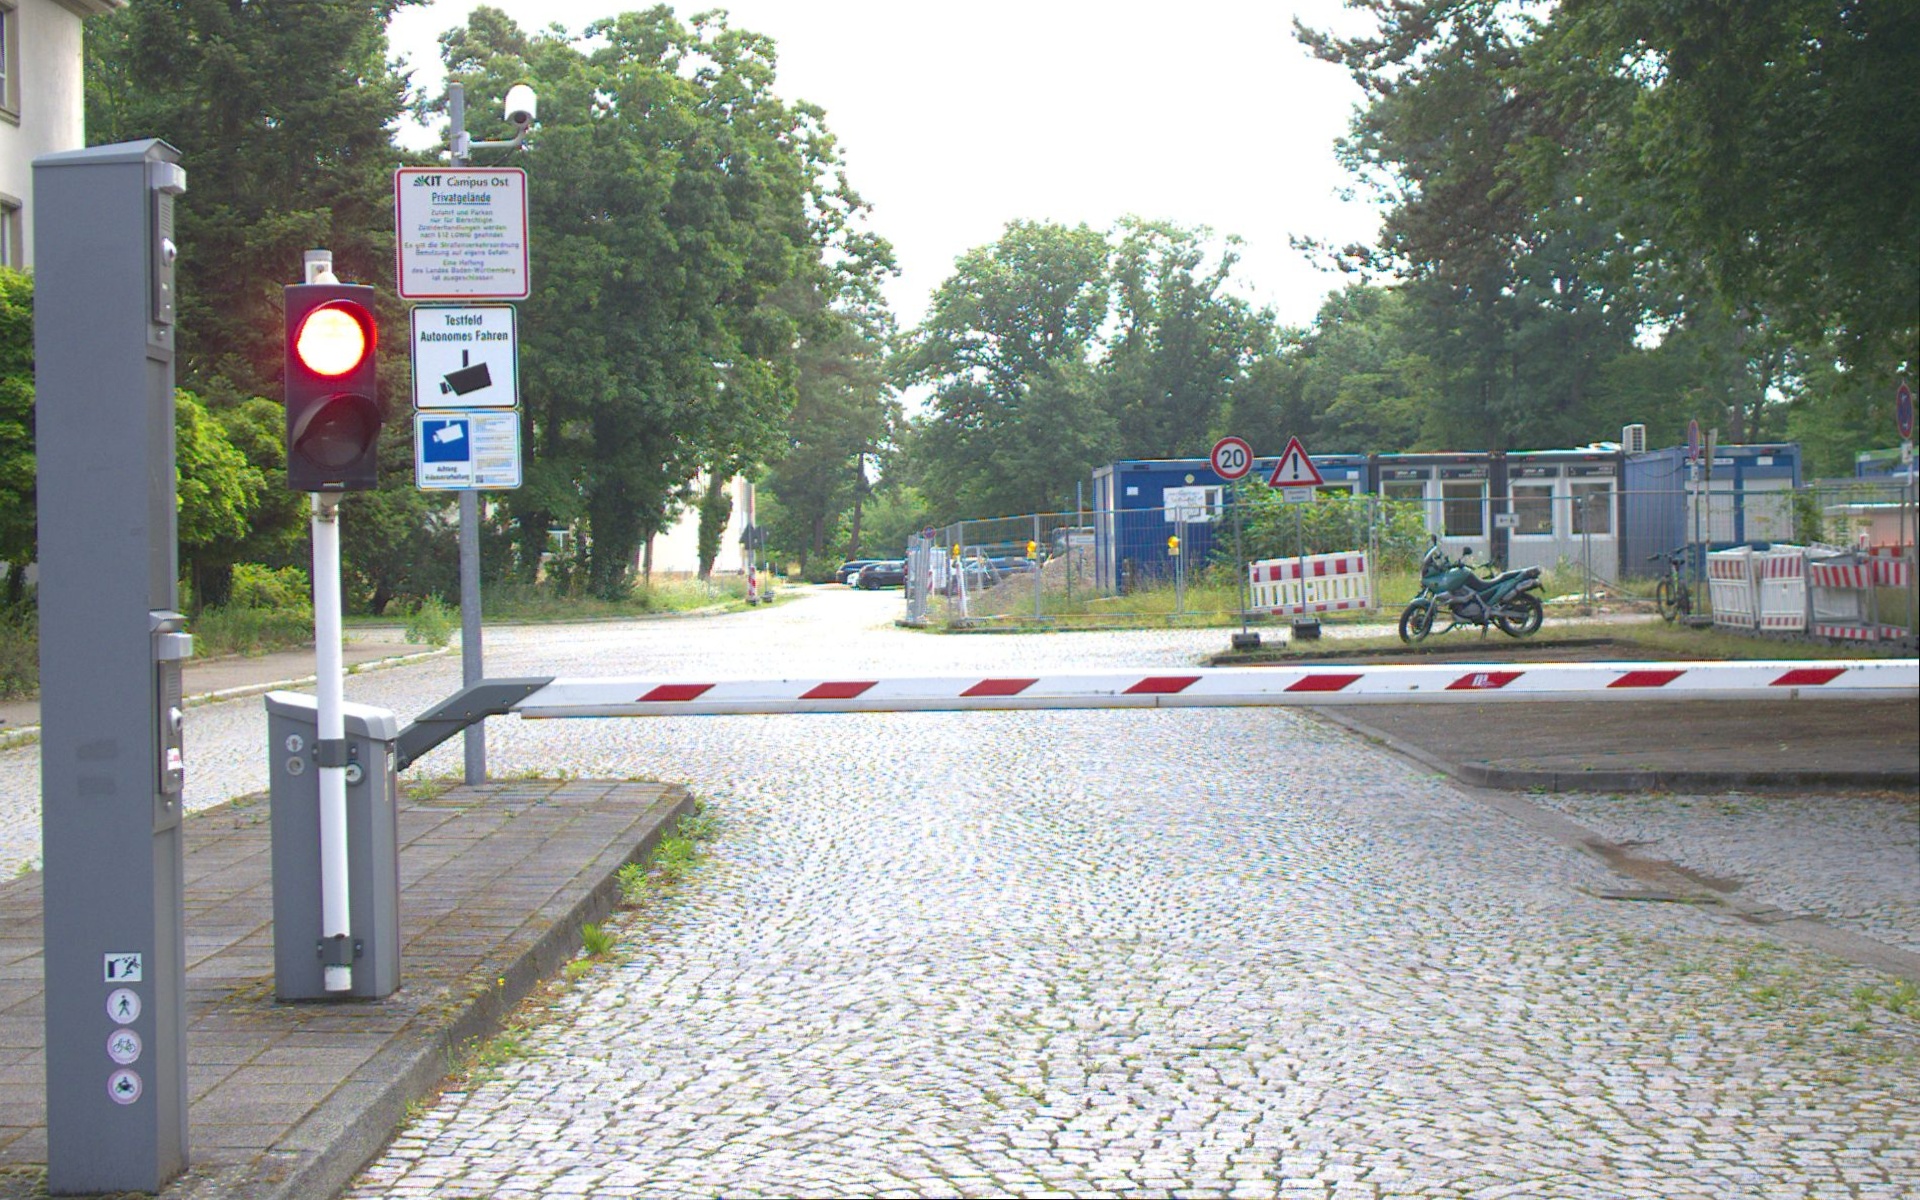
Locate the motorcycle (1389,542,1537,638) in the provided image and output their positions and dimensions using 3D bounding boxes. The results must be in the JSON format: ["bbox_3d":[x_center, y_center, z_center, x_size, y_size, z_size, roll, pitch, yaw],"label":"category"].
[{"bbox_3d":[6.997,-0.144,47.838,1.956,1.191,0.461,-3,6,-2],"label":"motorcycle"}]

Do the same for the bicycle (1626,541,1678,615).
[{"bbox_3d":[9.933,-0.304,49.406,0.332,1.004,1.726,-2,-1,-1],"label":"bicycle"}]
